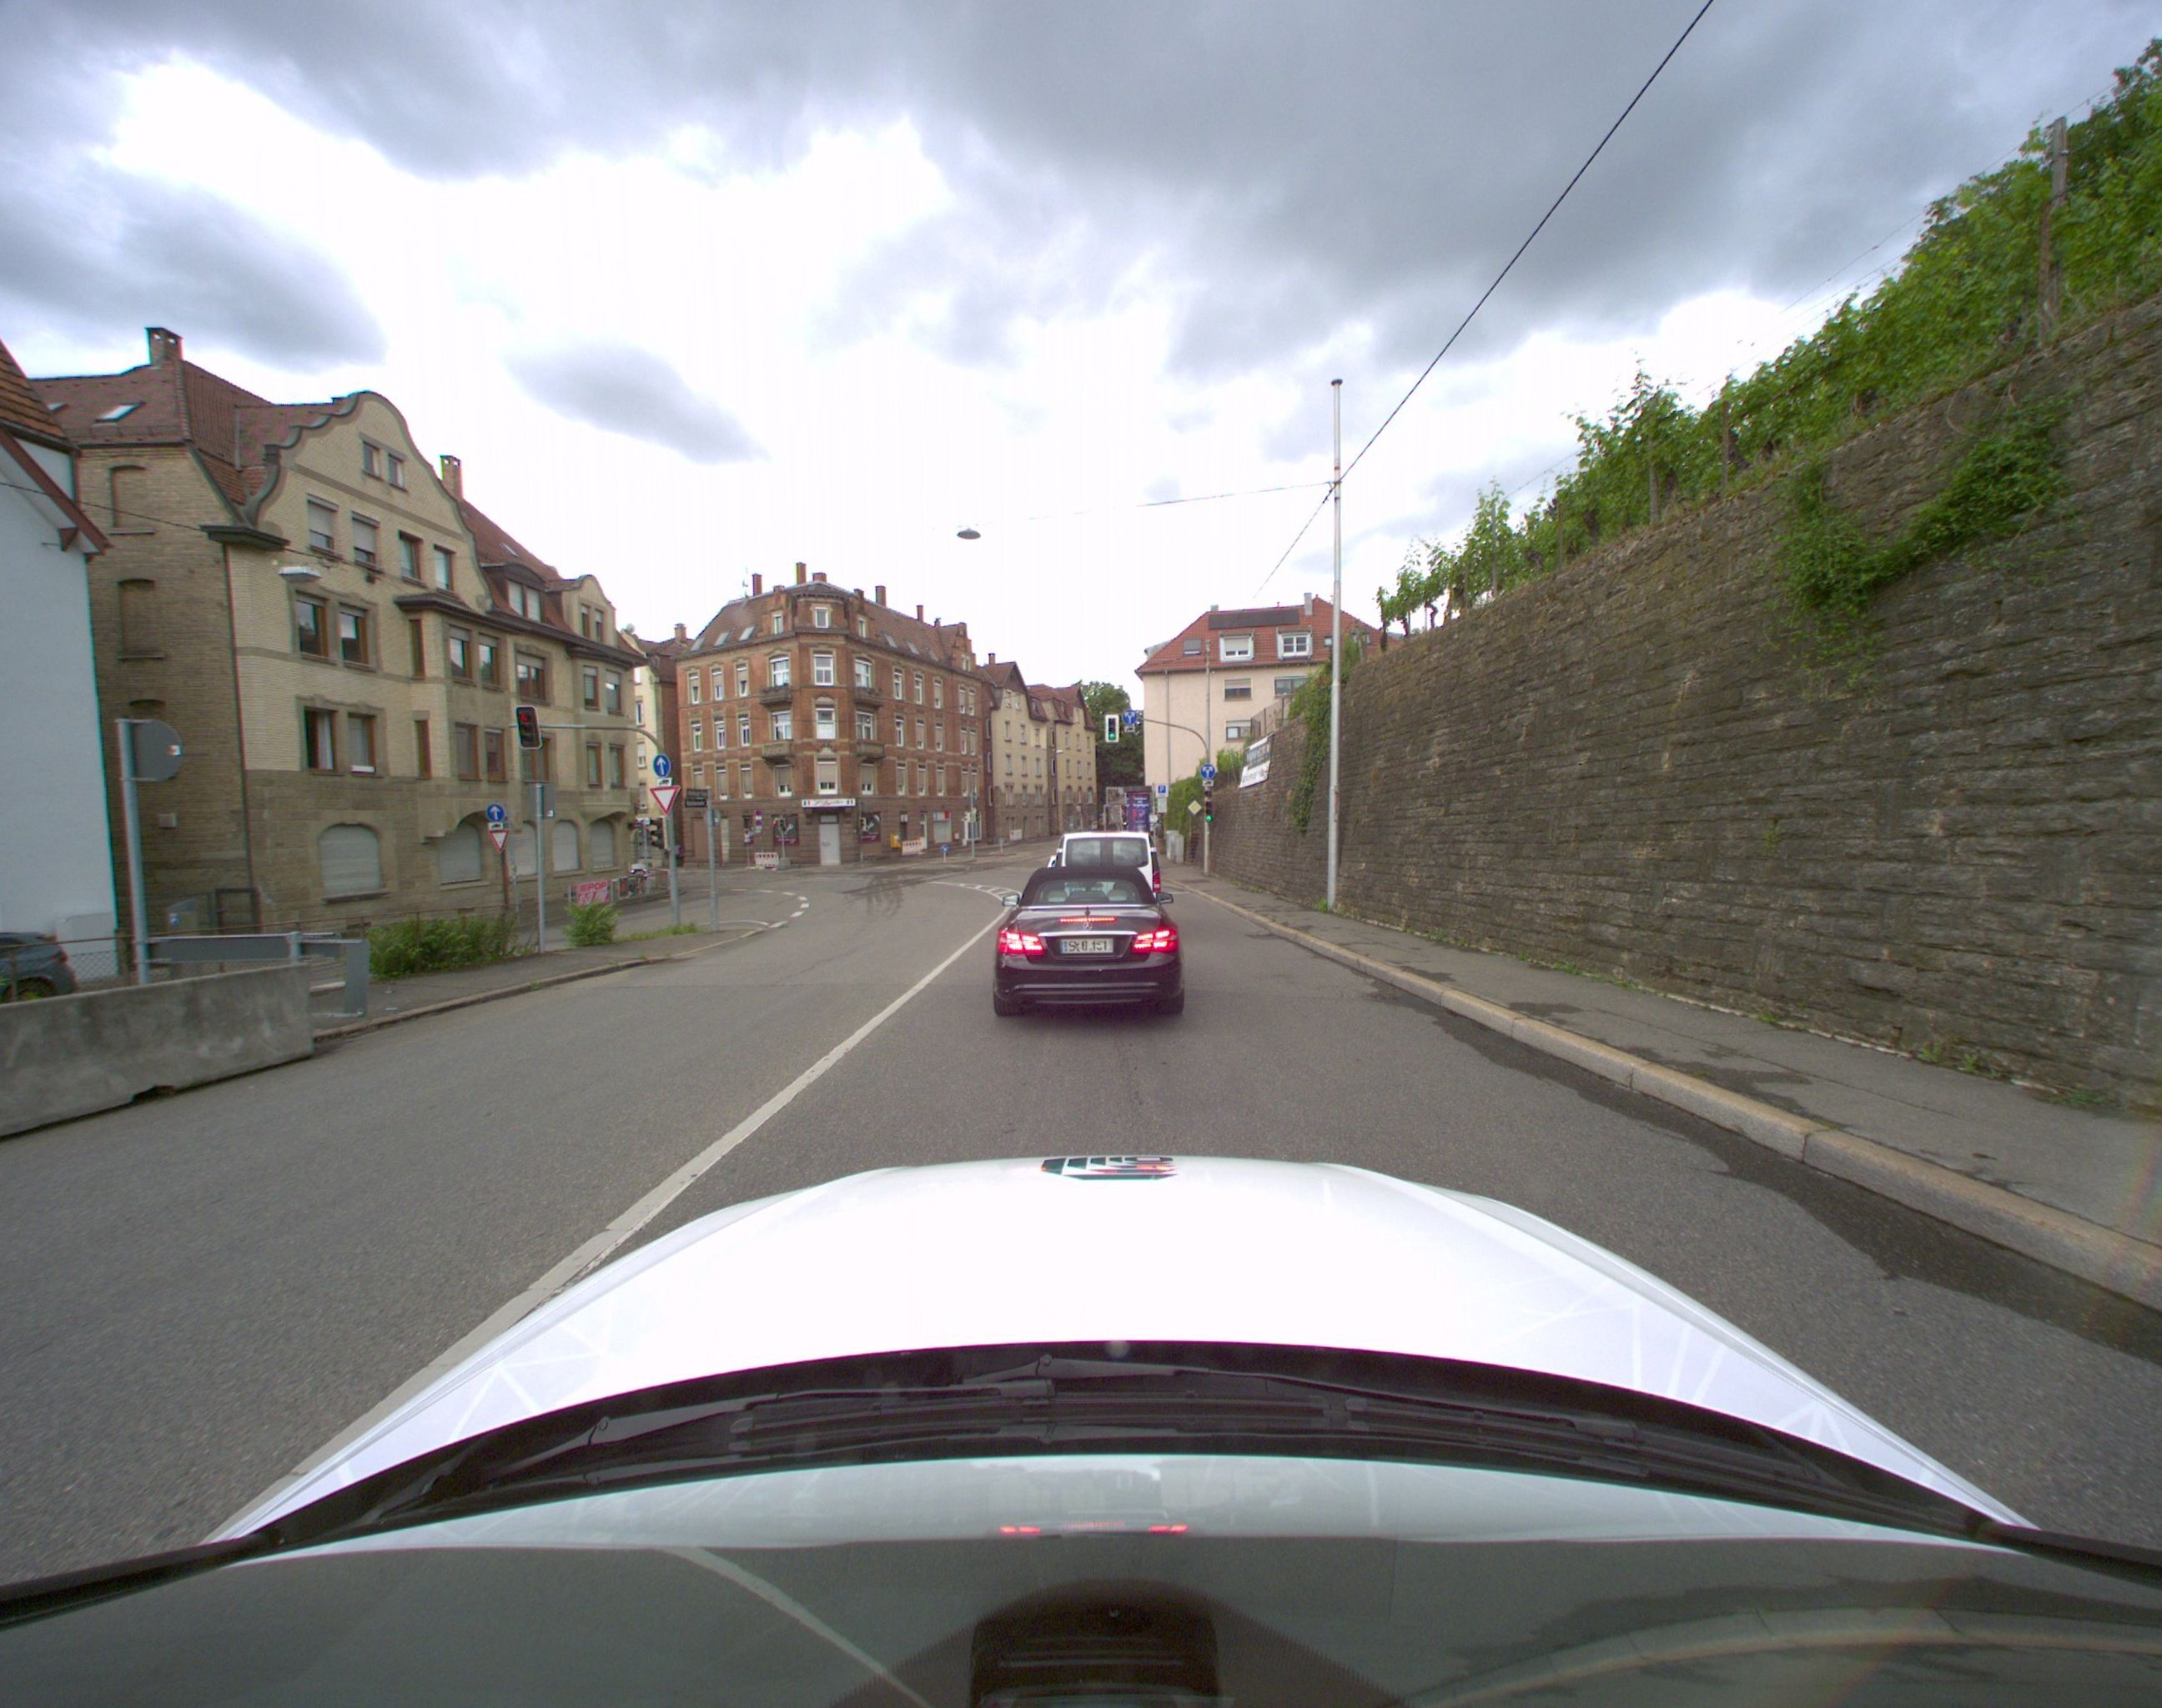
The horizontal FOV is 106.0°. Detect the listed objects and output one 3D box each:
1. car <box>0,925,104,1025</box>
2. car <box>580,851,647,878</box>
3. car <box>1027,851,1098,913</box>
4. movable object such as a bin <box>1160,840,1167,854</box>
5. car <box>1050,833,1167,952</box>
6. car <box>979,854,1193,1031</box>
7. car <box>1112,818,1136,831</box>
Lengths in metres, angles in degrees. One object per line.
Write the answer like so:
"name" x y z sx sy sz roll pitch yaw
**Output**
"car" -19.059 2.164 12.990 1.676 1.555 4.235 -4 0 1
"car" -27.836 0.622 48.447 3.598 1.467 1.685 -1 1 26
"car" -0.407 0.685 21.976 1.674 1.466 3.920 -1 0 2
"movable object such as a bin" 5.152 -0.435 50.967 0.343 0.911 0.494 -1 0 -4
"car" 0.516 0.598 15.611 1.884 1.928 4.647 -1 1 2
"car" 0.111 0.738 8.976 1.755 1.409 4.400 -1 0 2
"car" 5.476 -3.802 103.829 1.978 1.514 4.306 -1 3 17
